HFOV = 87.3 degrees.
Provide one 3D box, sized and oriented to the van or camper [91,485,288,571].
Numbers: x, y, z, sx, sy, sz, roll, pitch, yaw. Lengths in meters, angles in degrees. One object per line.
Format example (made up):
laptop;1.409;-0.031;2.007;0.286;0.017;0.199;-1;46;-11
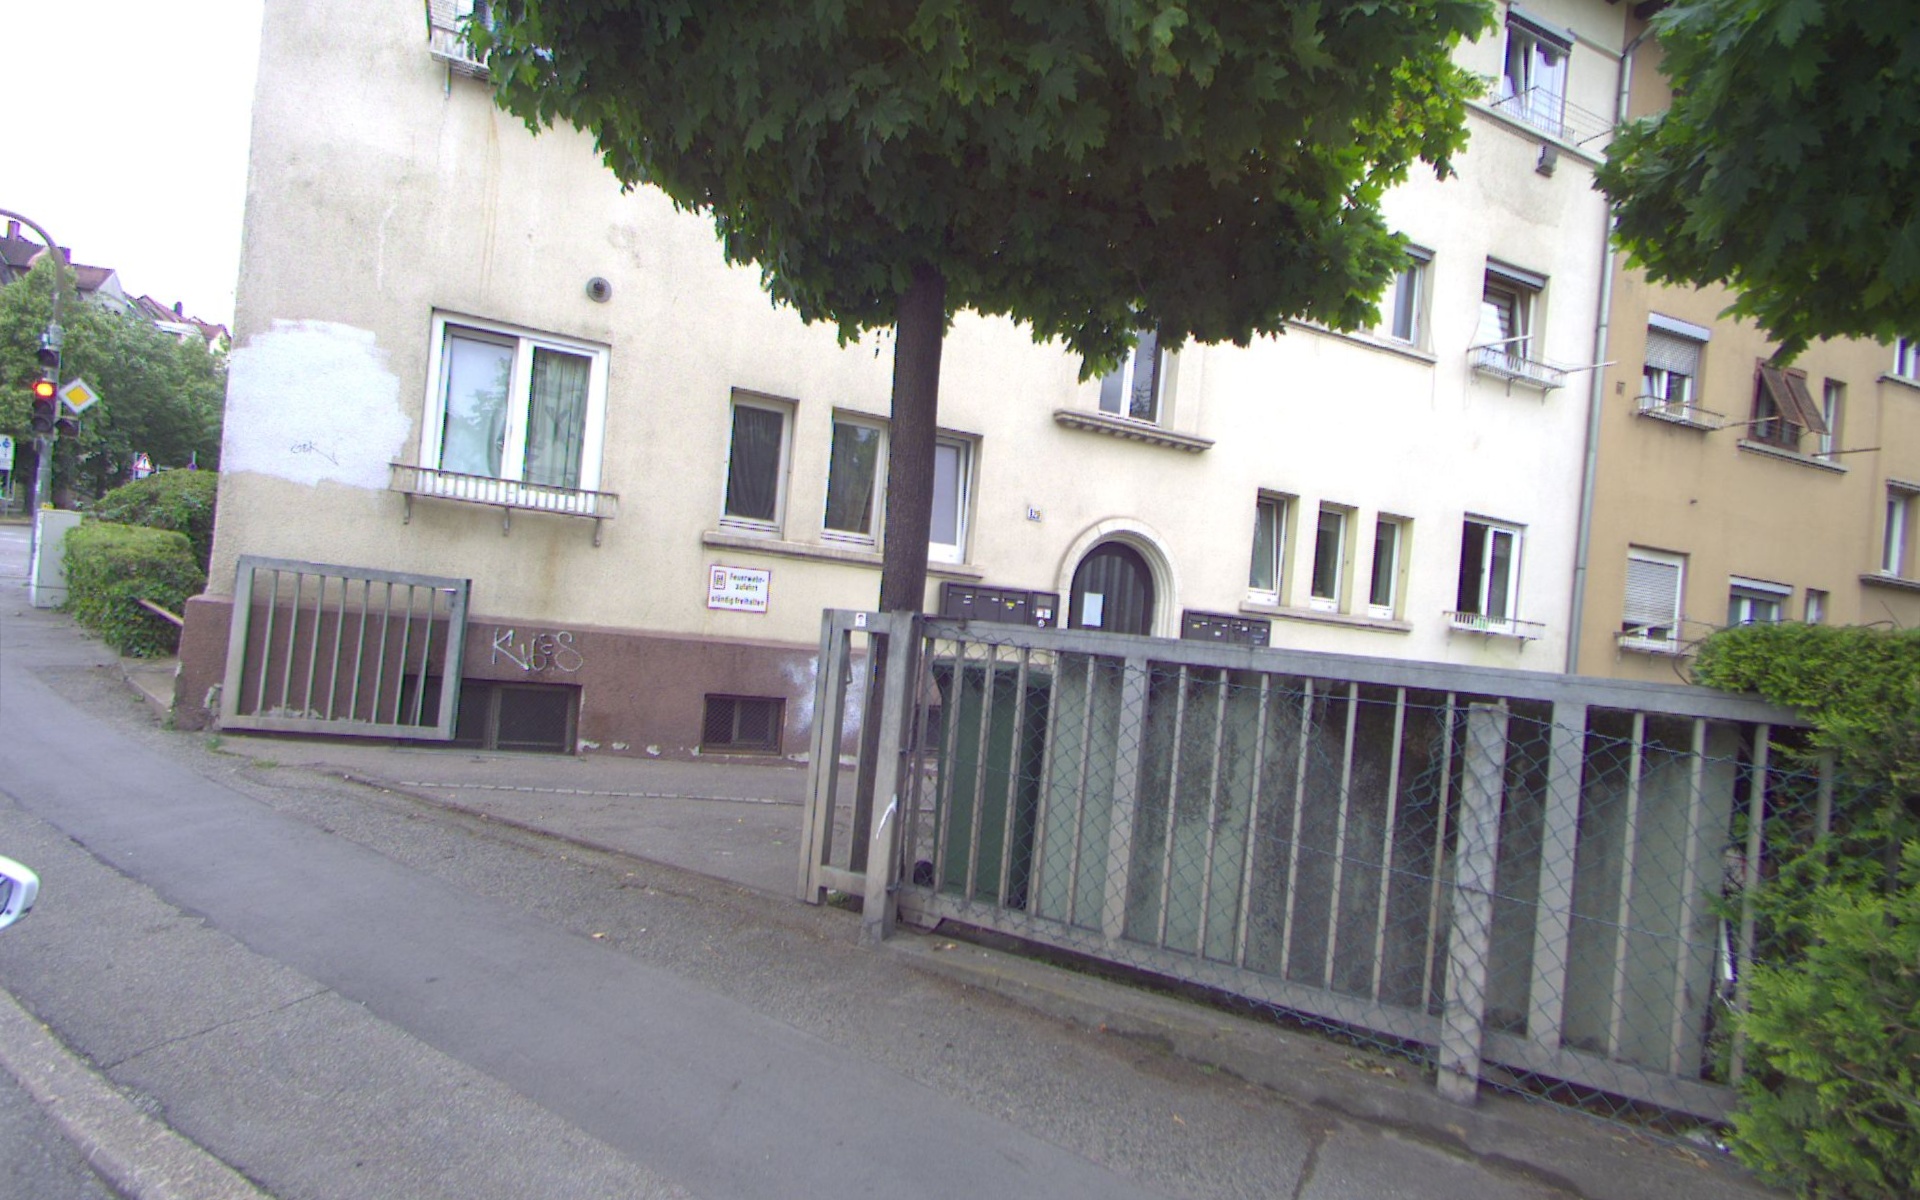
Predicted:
van or camper;-25.849;-2.375;33.904;4.746;2.037;1.999;8;-2;-5

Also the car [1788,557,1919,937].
car;5.545;0.785;3.776;3.381;1.477;1.700;6;-2;30
